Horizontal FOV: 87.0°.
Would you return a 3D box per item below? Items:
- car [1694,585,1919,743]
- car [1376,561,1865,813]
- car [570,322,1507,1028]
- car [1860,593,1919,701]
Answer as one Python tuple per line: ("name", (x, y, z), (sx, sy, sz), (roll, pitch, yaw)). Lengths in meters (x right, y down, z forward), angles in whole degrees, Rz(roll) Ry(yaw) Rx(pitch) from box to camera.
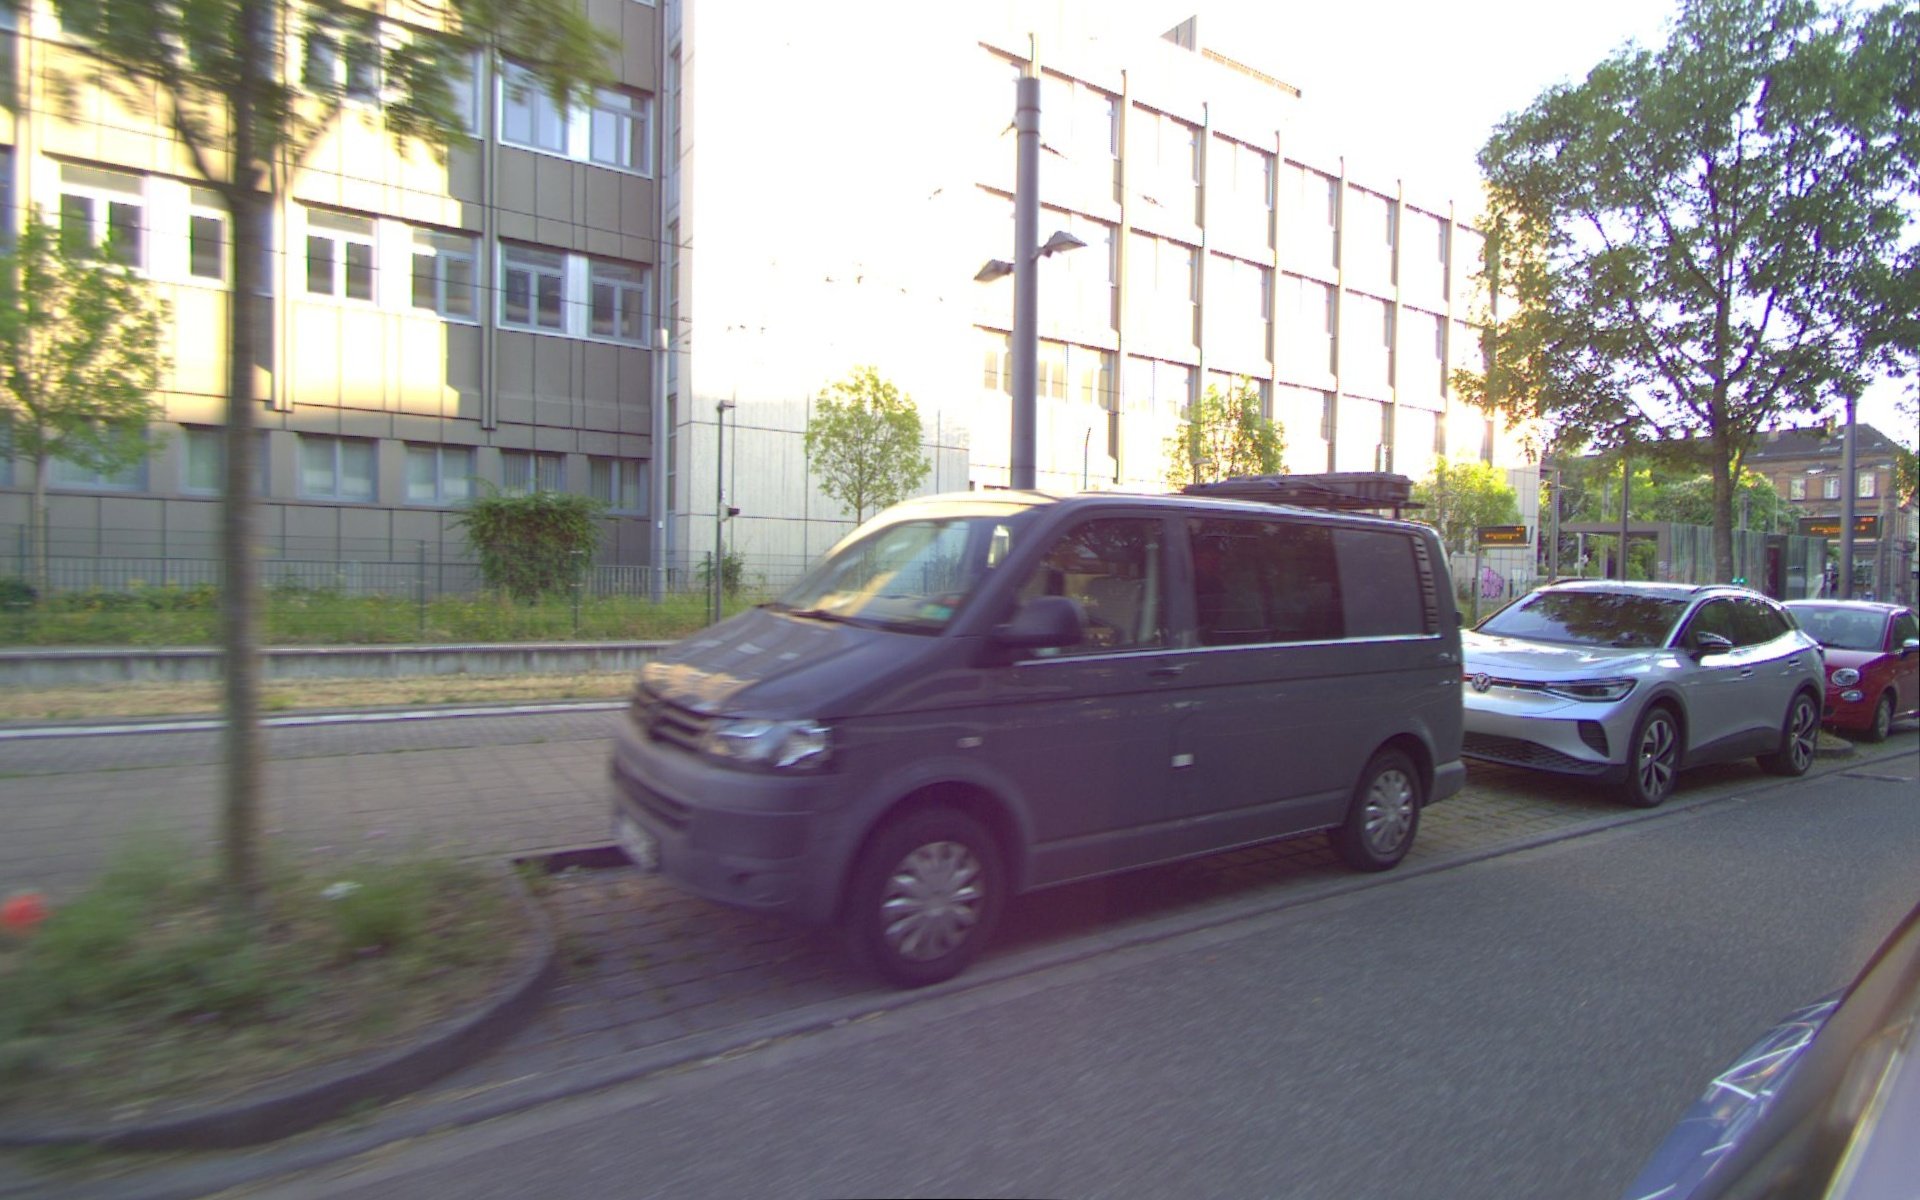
("car", (10.642, 0.625, 12.082), (4.051, 1.511, 1.714), (0, 4, -34))
("car", (5.663, 0.539, 8.524), (4.391, 1.599, 1.715), (0, 3, -32))
("car", (0.639, 0.179, 5.203), (4.645, 2.203, 1.811), (0, 3, -34))
("car", (15.099, 0.678, 14.956), (3.923, 1.469, 1.714), (0, 4, -34))
